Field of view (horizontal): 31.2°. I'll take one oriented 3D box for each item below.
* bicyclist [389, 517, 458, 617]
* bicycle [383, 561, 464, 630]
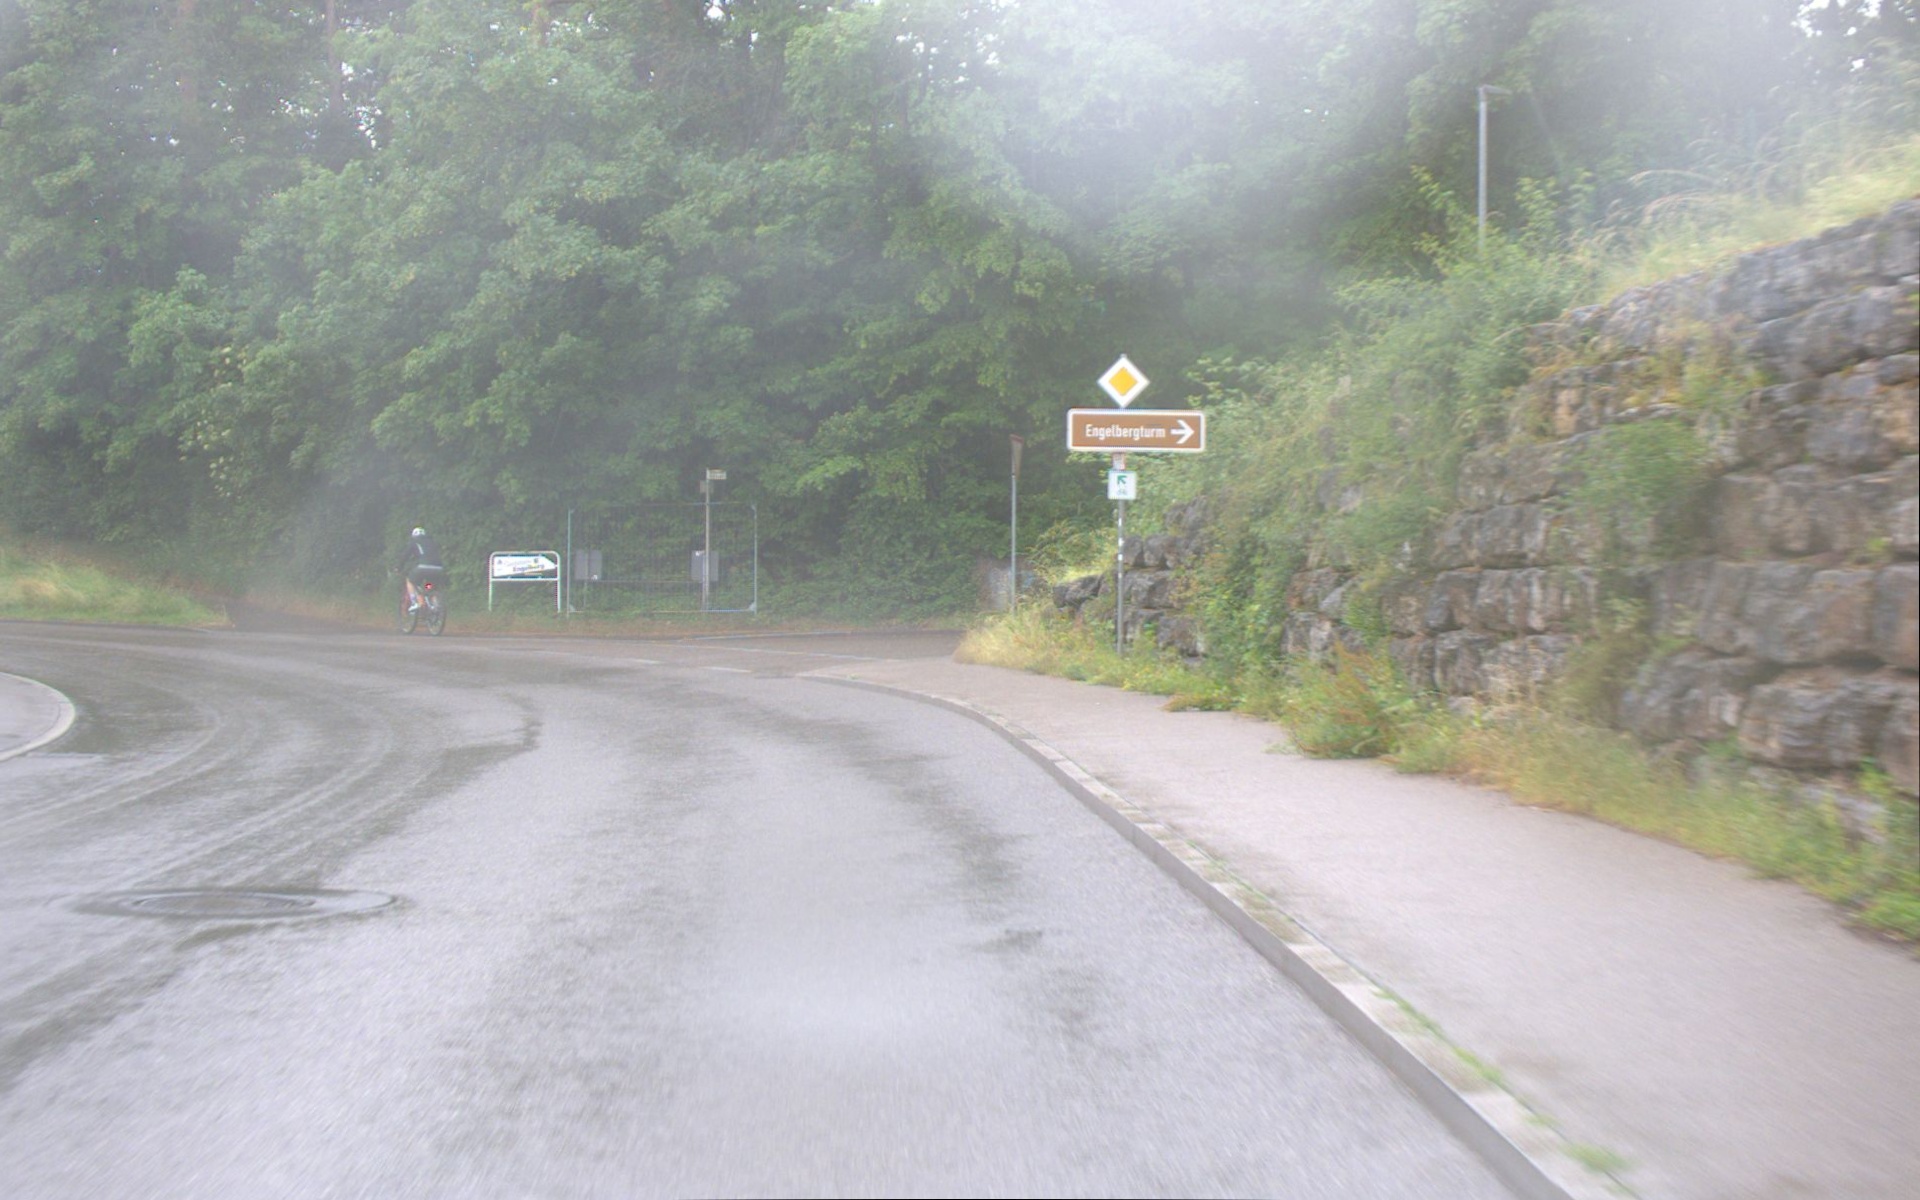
[{"bbox_3d":[-8.785,-0.548,56.258,0.720,1.609,0.905,1,1,-39],"label":"bicyclist"},{"bbox_3d":[-8.784,-0.076,56.277,0.527,1.081,1.620,1,1,-40],"label":"bicycle"}]
